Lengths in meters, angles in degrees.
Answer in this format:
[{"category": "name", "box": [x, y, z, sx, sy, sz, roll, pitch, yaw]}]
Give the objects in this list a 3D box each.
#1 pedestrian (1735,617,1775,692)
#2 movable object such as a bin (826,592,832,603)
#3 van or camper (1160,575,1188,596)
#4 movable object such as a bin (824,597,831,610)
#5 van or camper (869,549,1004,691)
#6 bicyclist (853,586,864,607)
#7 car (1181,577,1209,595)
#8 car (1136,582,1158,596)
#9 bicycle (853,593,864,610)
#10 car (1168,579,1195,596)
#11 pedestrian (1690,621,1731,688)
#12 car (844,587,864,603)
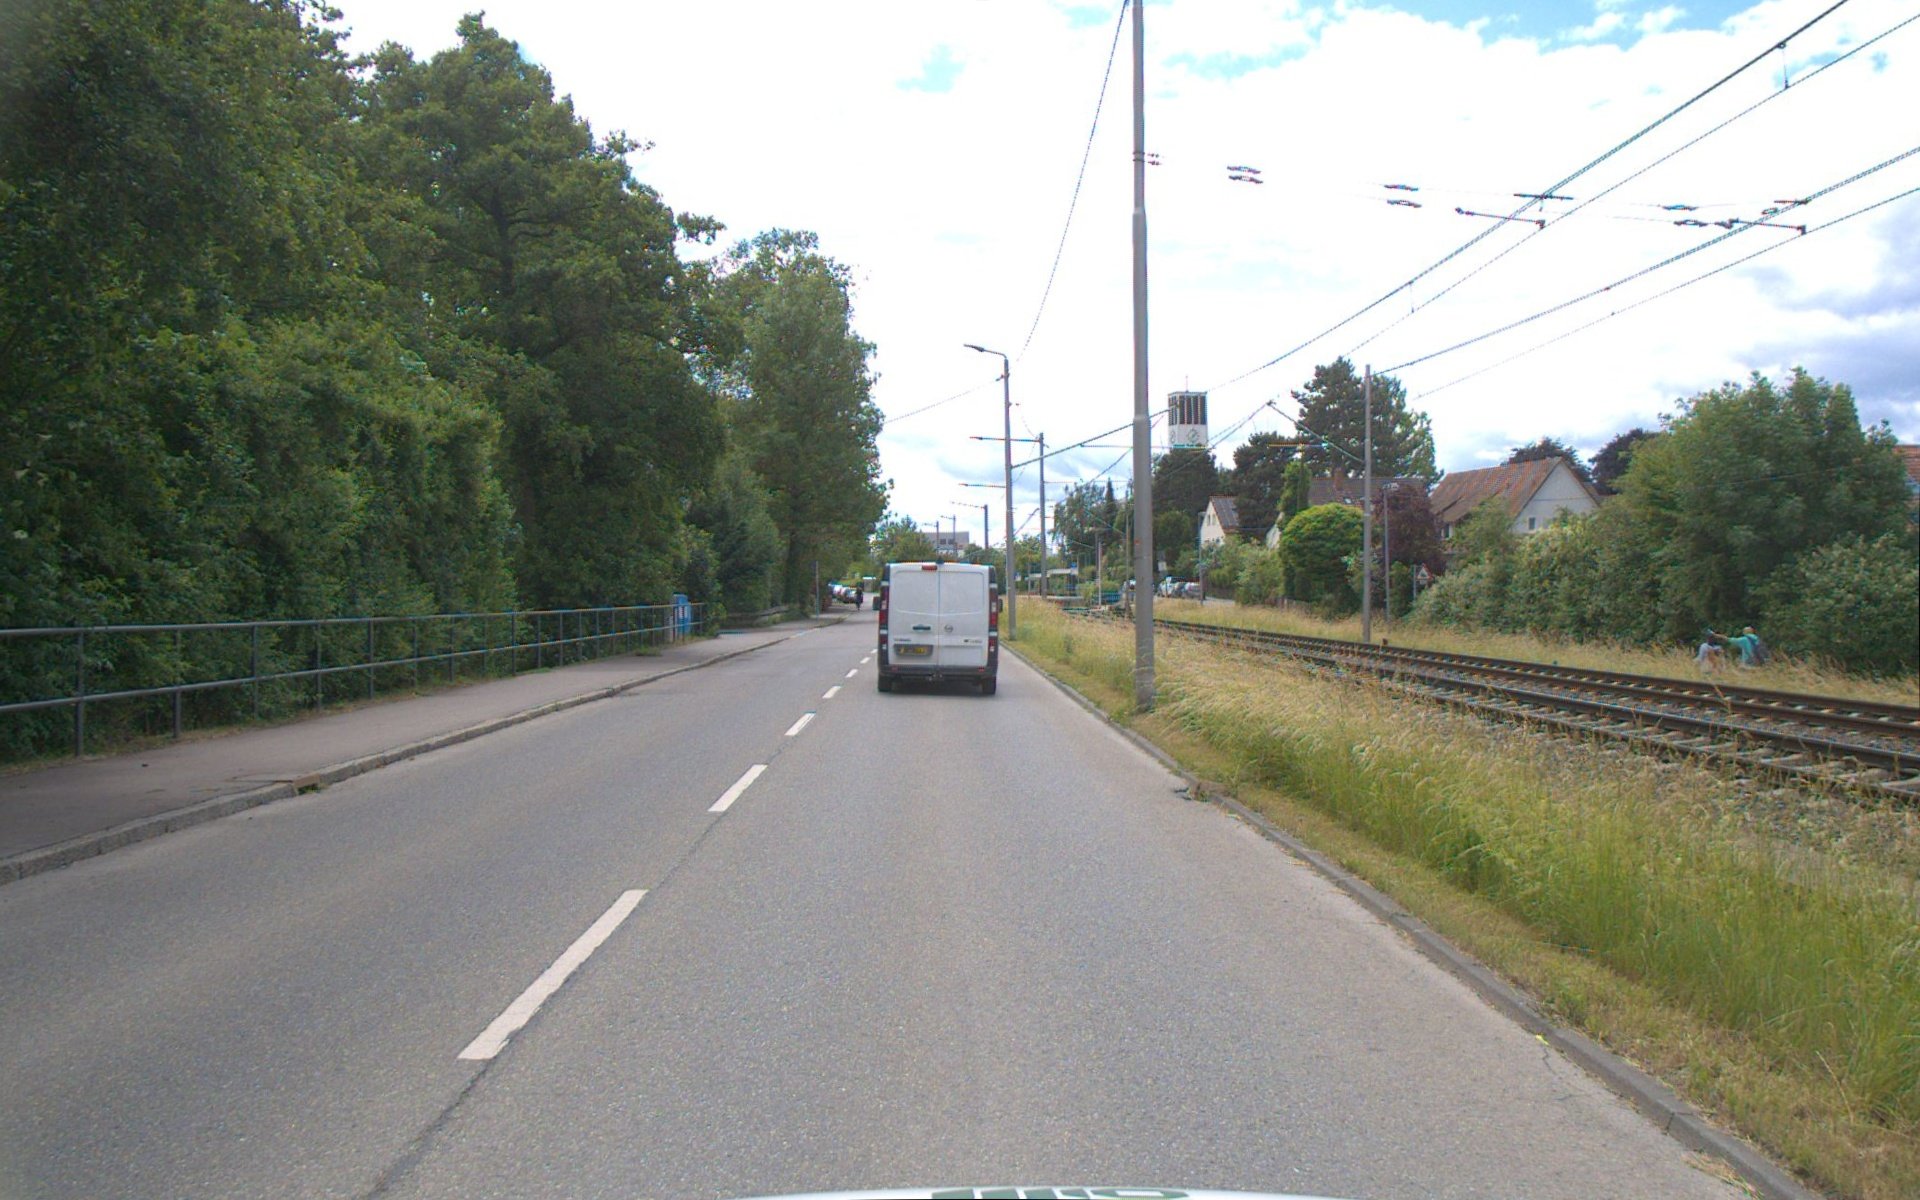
[{"category": "pedestrian", "box": [17.884, 1.211, 37.209, 0.604, 1.650, 0.584, 1, 0, -1]}, {"category": "movable object such as a bin", "box": [-11.599, -0.243, 146.413, 0.455, 0.946, 0.428, 3, -1, -18]}, {"category": "van or camper", "box": [20.021, -1.338, 154.923, 1.866, 1.857, 5.047, -1, 0, 0]}, {"category": "movable object such as a bin", "box": [-9.544, 0.250, 119.038, 0.503, 0.961, 0.568, 0, 0, -2]}, {"category": "van or camper", "box": [-0.370, 0.296, 26.466, 1.953, 2.049, 4.445, 1, 0, -1]}, {"category": "bicyclist", "box": [-7.579, -0.285, 123.827, 0.762, 1.576, 0.869, -1, 0, -1]}, {"category": "car", "box": [20.502, -1.237, 144.219, 1.845, 1.548, 4.000, -1, 0, 0]}, {"category": "car", "box": [19.967, -1.177, 176.942, 1.845, 1.548, 4.000, -1, 0, 0]}, {"category": "bicycle", "box": [-7.584, 0.085, 123.663, 0.740, 1.248, 2.308, -2, 0, -1]}, {"category": "car", "box": [20.115, -1.139, 150.284, 1.845, 1.548, 4.000, -1, 0, 0]}, {"category": "pedestrian", "box": [16.916, 1.220, 37.288, 0.585, 1.455, 0.666, 1, 0, -1]}, {"category": "car", "box": [-10.622, -0.506, 165.815, 1.704, 1.531, 4.470, -2, 1, -7]}]
